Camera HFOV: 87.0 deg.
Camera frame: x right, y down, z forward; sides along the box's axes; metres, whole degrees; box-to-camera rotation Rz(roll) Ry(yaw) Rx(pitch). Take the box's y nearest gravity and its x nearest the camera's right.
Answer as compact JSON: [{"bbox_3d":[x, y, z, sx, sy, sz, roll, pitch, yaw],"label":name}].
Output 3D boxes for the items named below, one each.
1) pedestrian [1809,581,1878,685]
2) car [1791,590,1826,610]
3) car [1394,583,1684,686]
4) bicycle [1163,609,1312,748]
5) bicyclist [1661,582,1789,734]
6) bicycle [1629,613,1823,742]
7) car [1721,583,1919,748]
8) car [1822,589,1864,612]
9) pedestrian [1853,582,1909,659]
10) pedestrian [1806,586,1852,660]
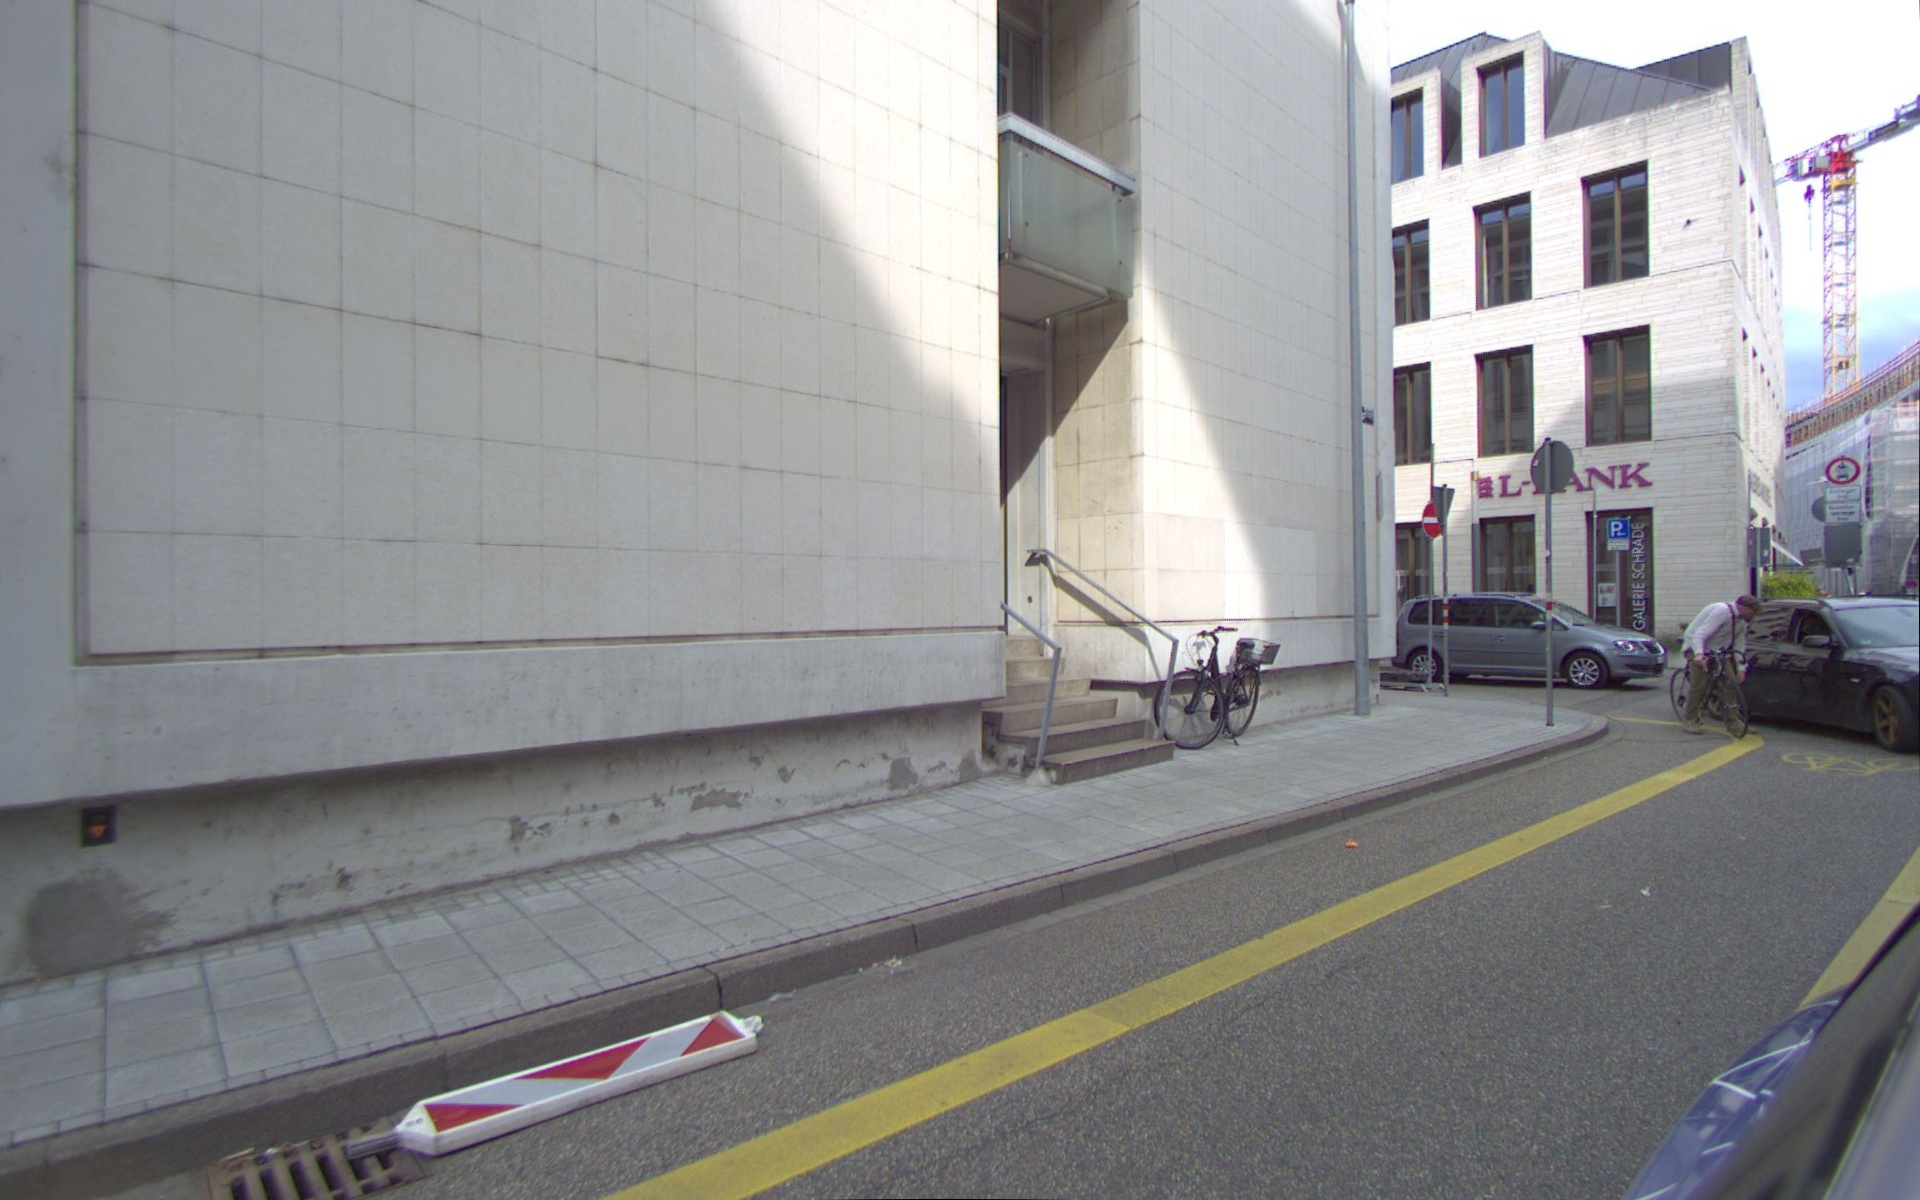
[{"bbox_3d":[16.252,0.590,18.648,0.767,1.854,0.853,-1,0,29],"label":"pedestrian"},{"bbox_3d":[64.846,-0.017,77.397,1.578,1.505,3.952,0,0,33],"label":"car"},{"bbox_3d":[10.236,0.533,18.122,1.784,1.610,4.187,-1,0,-42],"label":"car"},{"bbox_3d":[2.681,0.691,9.669,0.588,1.182,1.786,-1,0,44],"label":"bicycle"},{"bbox_3d":[8.485,0.611,11.266,0.881,1.614,0.872,-1,0,19],"label":"bicyclist"},{"bbox_3d":[8.526,0.781,11.452,0.860,1.209,2.847,0,0,18],"label":"bicycle"},{"bbox_3d":[9.802,0.581,10.329,1.690,1.509,3.754,-1,0,10],"label":"car"},{"bbox_3d":[59.407,0.031,68.125,1.578,1.505,3.952,0,0,33],"label":"car"},{"bbox_3d":[22.707,0.495,24.955,0.759,1.854,0.862,0,0,-34],"label":"pedestrian"},{"bbox_3d":[22.345,0.580,26.019,0.858,1.854,0.762,-1,0,43],"label":"pedestrian"}]
